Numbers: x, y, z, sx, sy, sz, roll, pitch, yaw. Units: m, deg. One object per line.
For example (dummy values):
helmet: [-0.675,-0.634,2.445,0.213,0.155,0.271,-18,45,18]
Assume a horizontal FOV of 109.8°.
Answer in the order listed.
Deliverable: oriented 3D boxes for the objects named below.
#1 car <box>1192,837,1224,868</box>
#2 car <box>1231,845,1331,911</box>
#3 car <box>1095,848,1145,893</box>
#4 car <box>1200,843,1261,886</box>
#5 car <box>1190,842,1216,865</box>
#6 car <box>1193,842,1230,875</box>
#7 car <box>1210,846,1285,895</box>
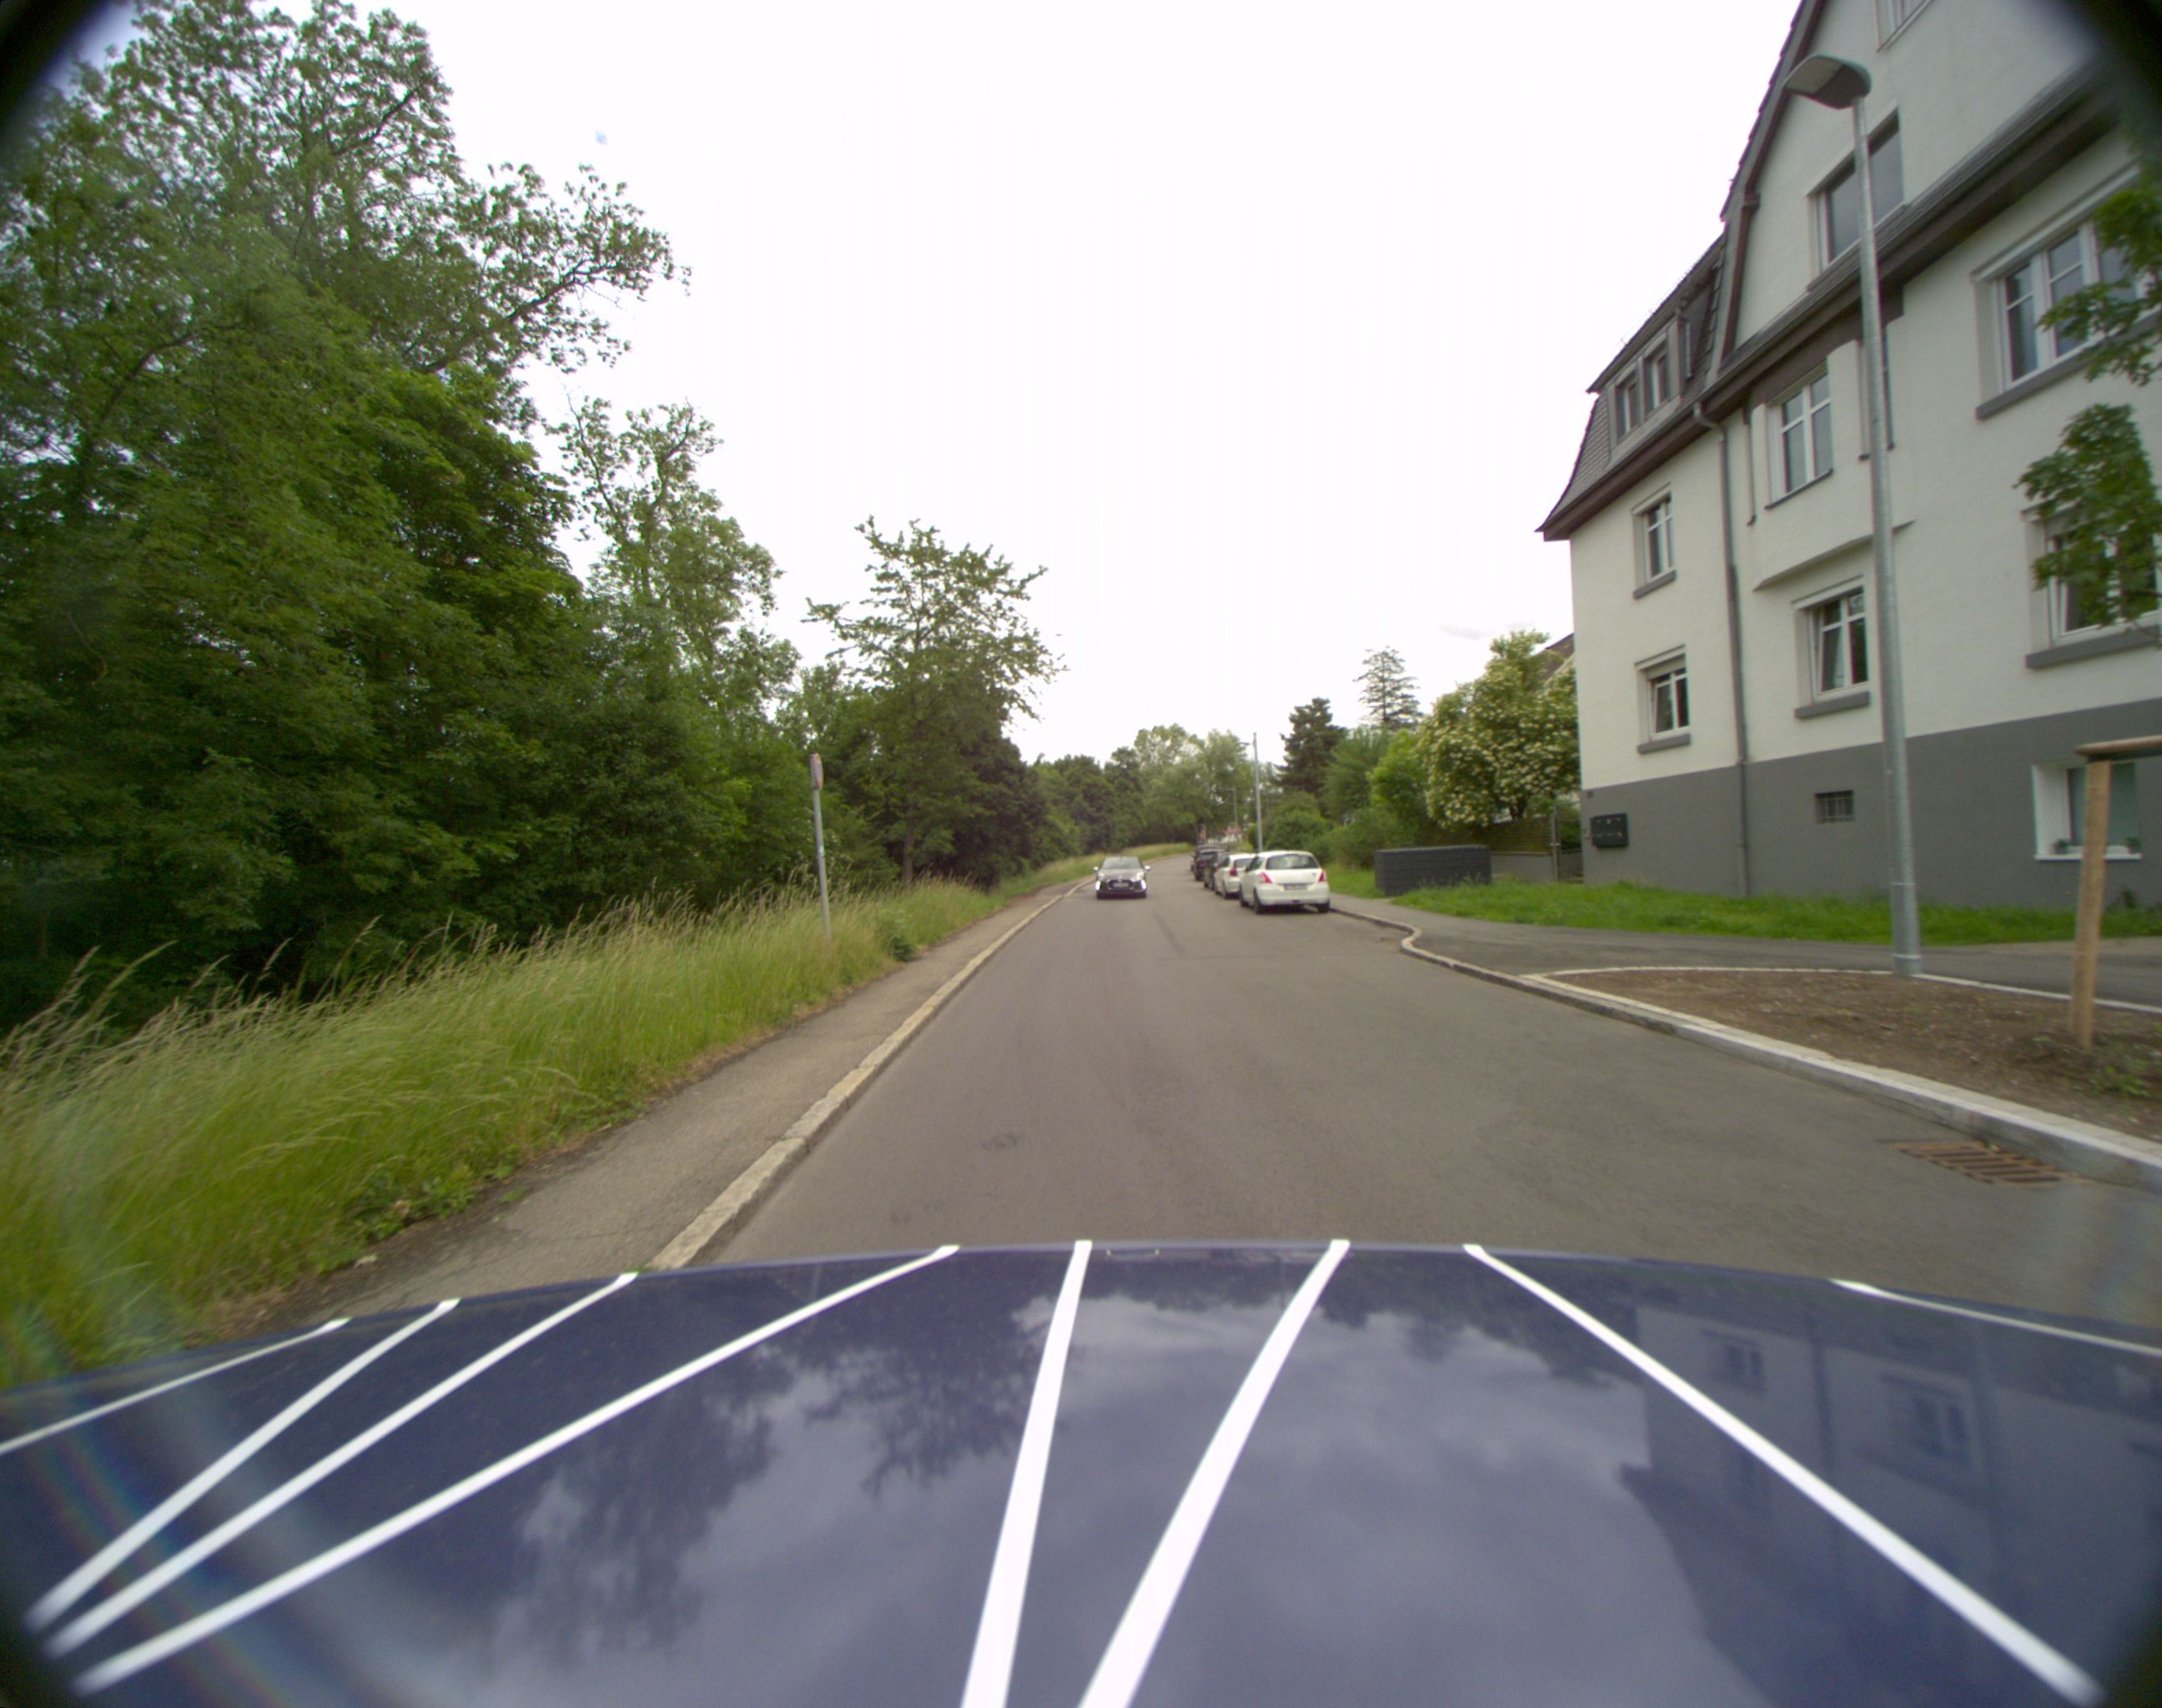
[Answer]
car: [7.906,-0.113,47.538,1.799,1.790,4.066,-1,1,8]
car: [4.962,0.535,19.367,1.646,1.461,4.071,-1,0,3]
car: [1.430,0.529,26.995,1.619,1.460,4.001,-1,0,5]
car: [5.879,0.383,30.418,1.731,1.564,4.816,-1,0,3]
car: [8.473,-0.043,52.854,1.664,1.497,4.047,-1,1,9]
car: [6.656,0.181,39.012,1.665,1.573,4.079,-1,1,7]
car: [5.381,0.462,25.126,1.728,1.382,4.726,-1,1,4]
